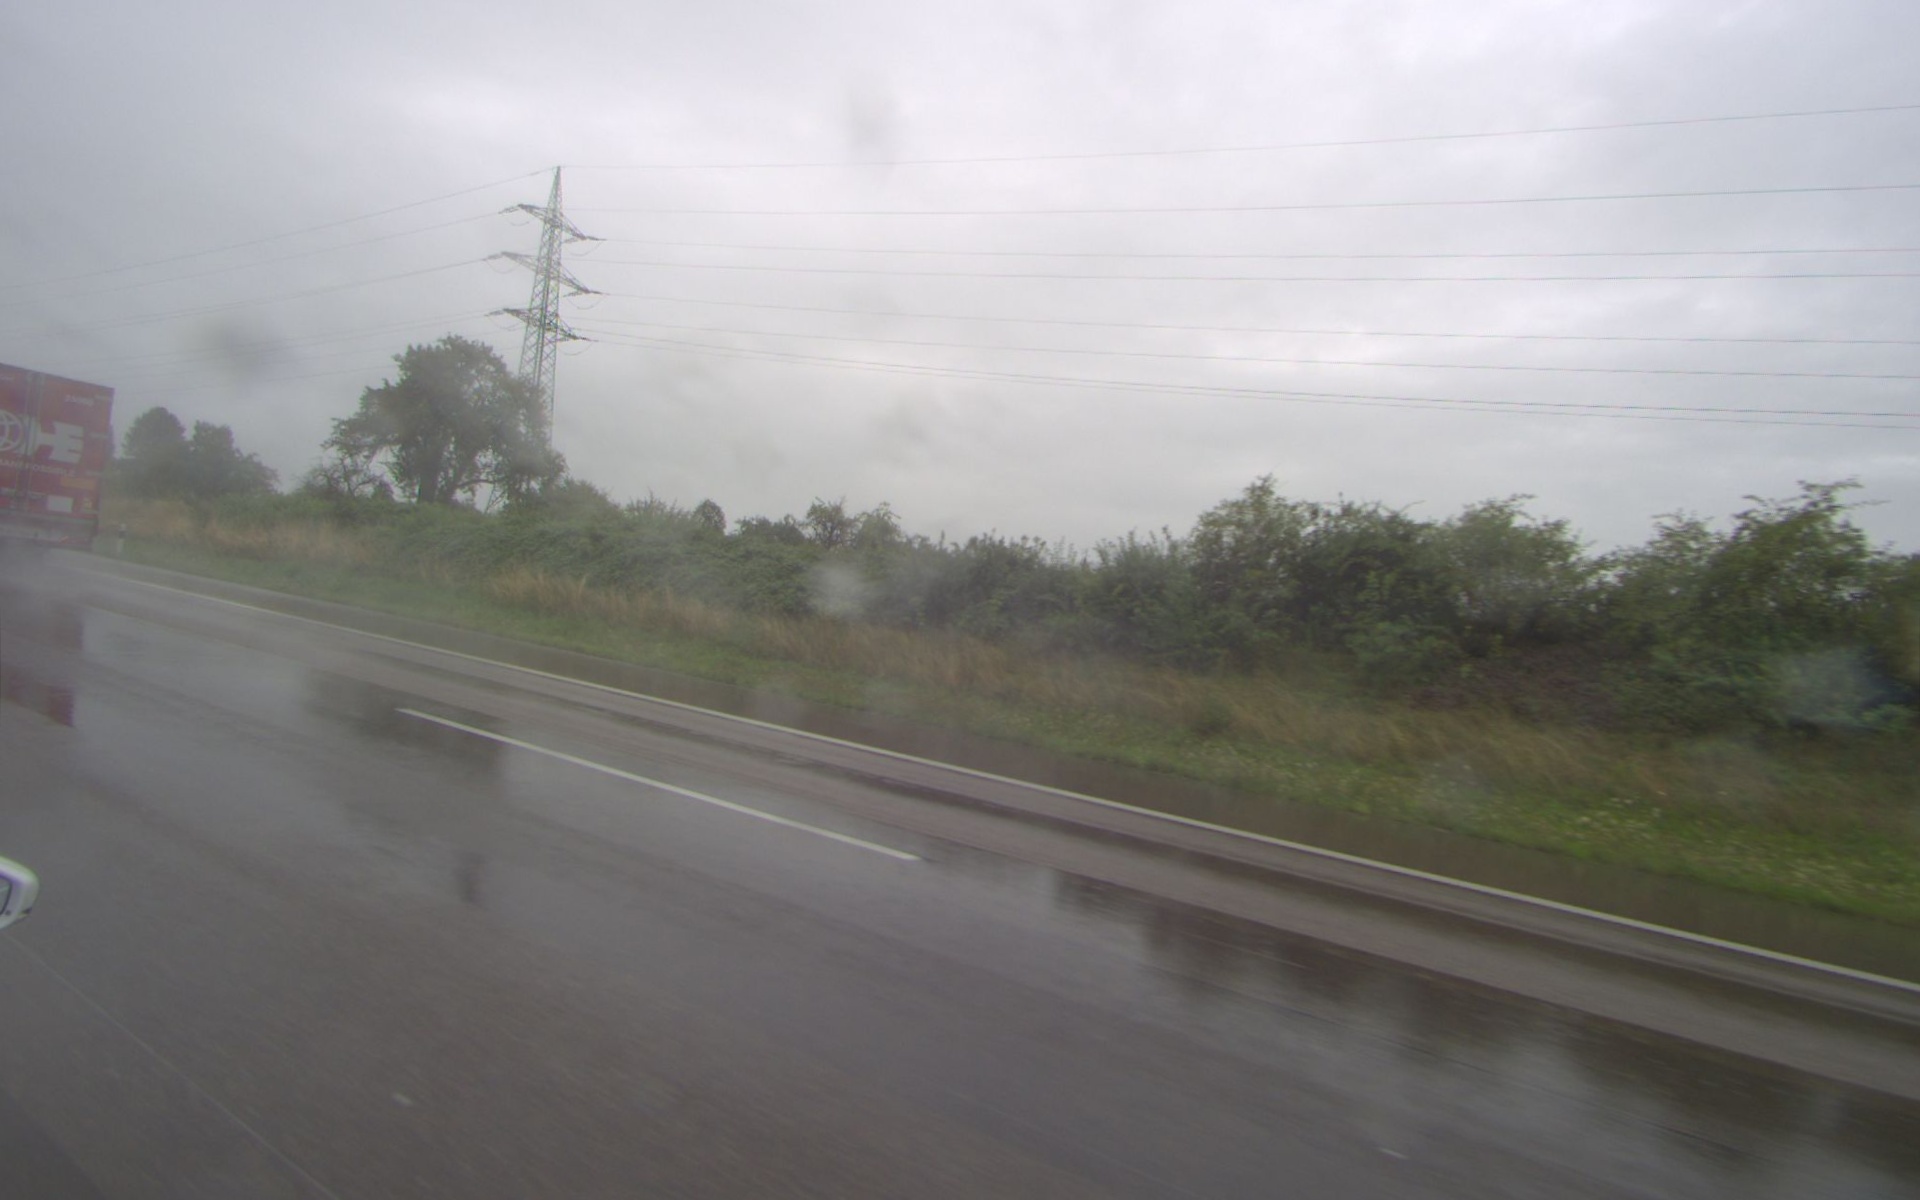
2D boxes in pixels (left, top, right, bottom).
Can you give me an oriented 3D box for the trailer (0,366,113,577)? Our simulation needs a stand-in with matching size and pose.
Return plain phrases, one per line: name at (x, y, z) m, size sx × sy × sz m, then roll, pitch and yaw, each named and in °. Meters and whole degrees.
trailer at (-24.489, -3.234, 23.605) m, size 13.401 × 4.005 × 2.623 m, roll 7°, pitch 1°, yaw 31°
